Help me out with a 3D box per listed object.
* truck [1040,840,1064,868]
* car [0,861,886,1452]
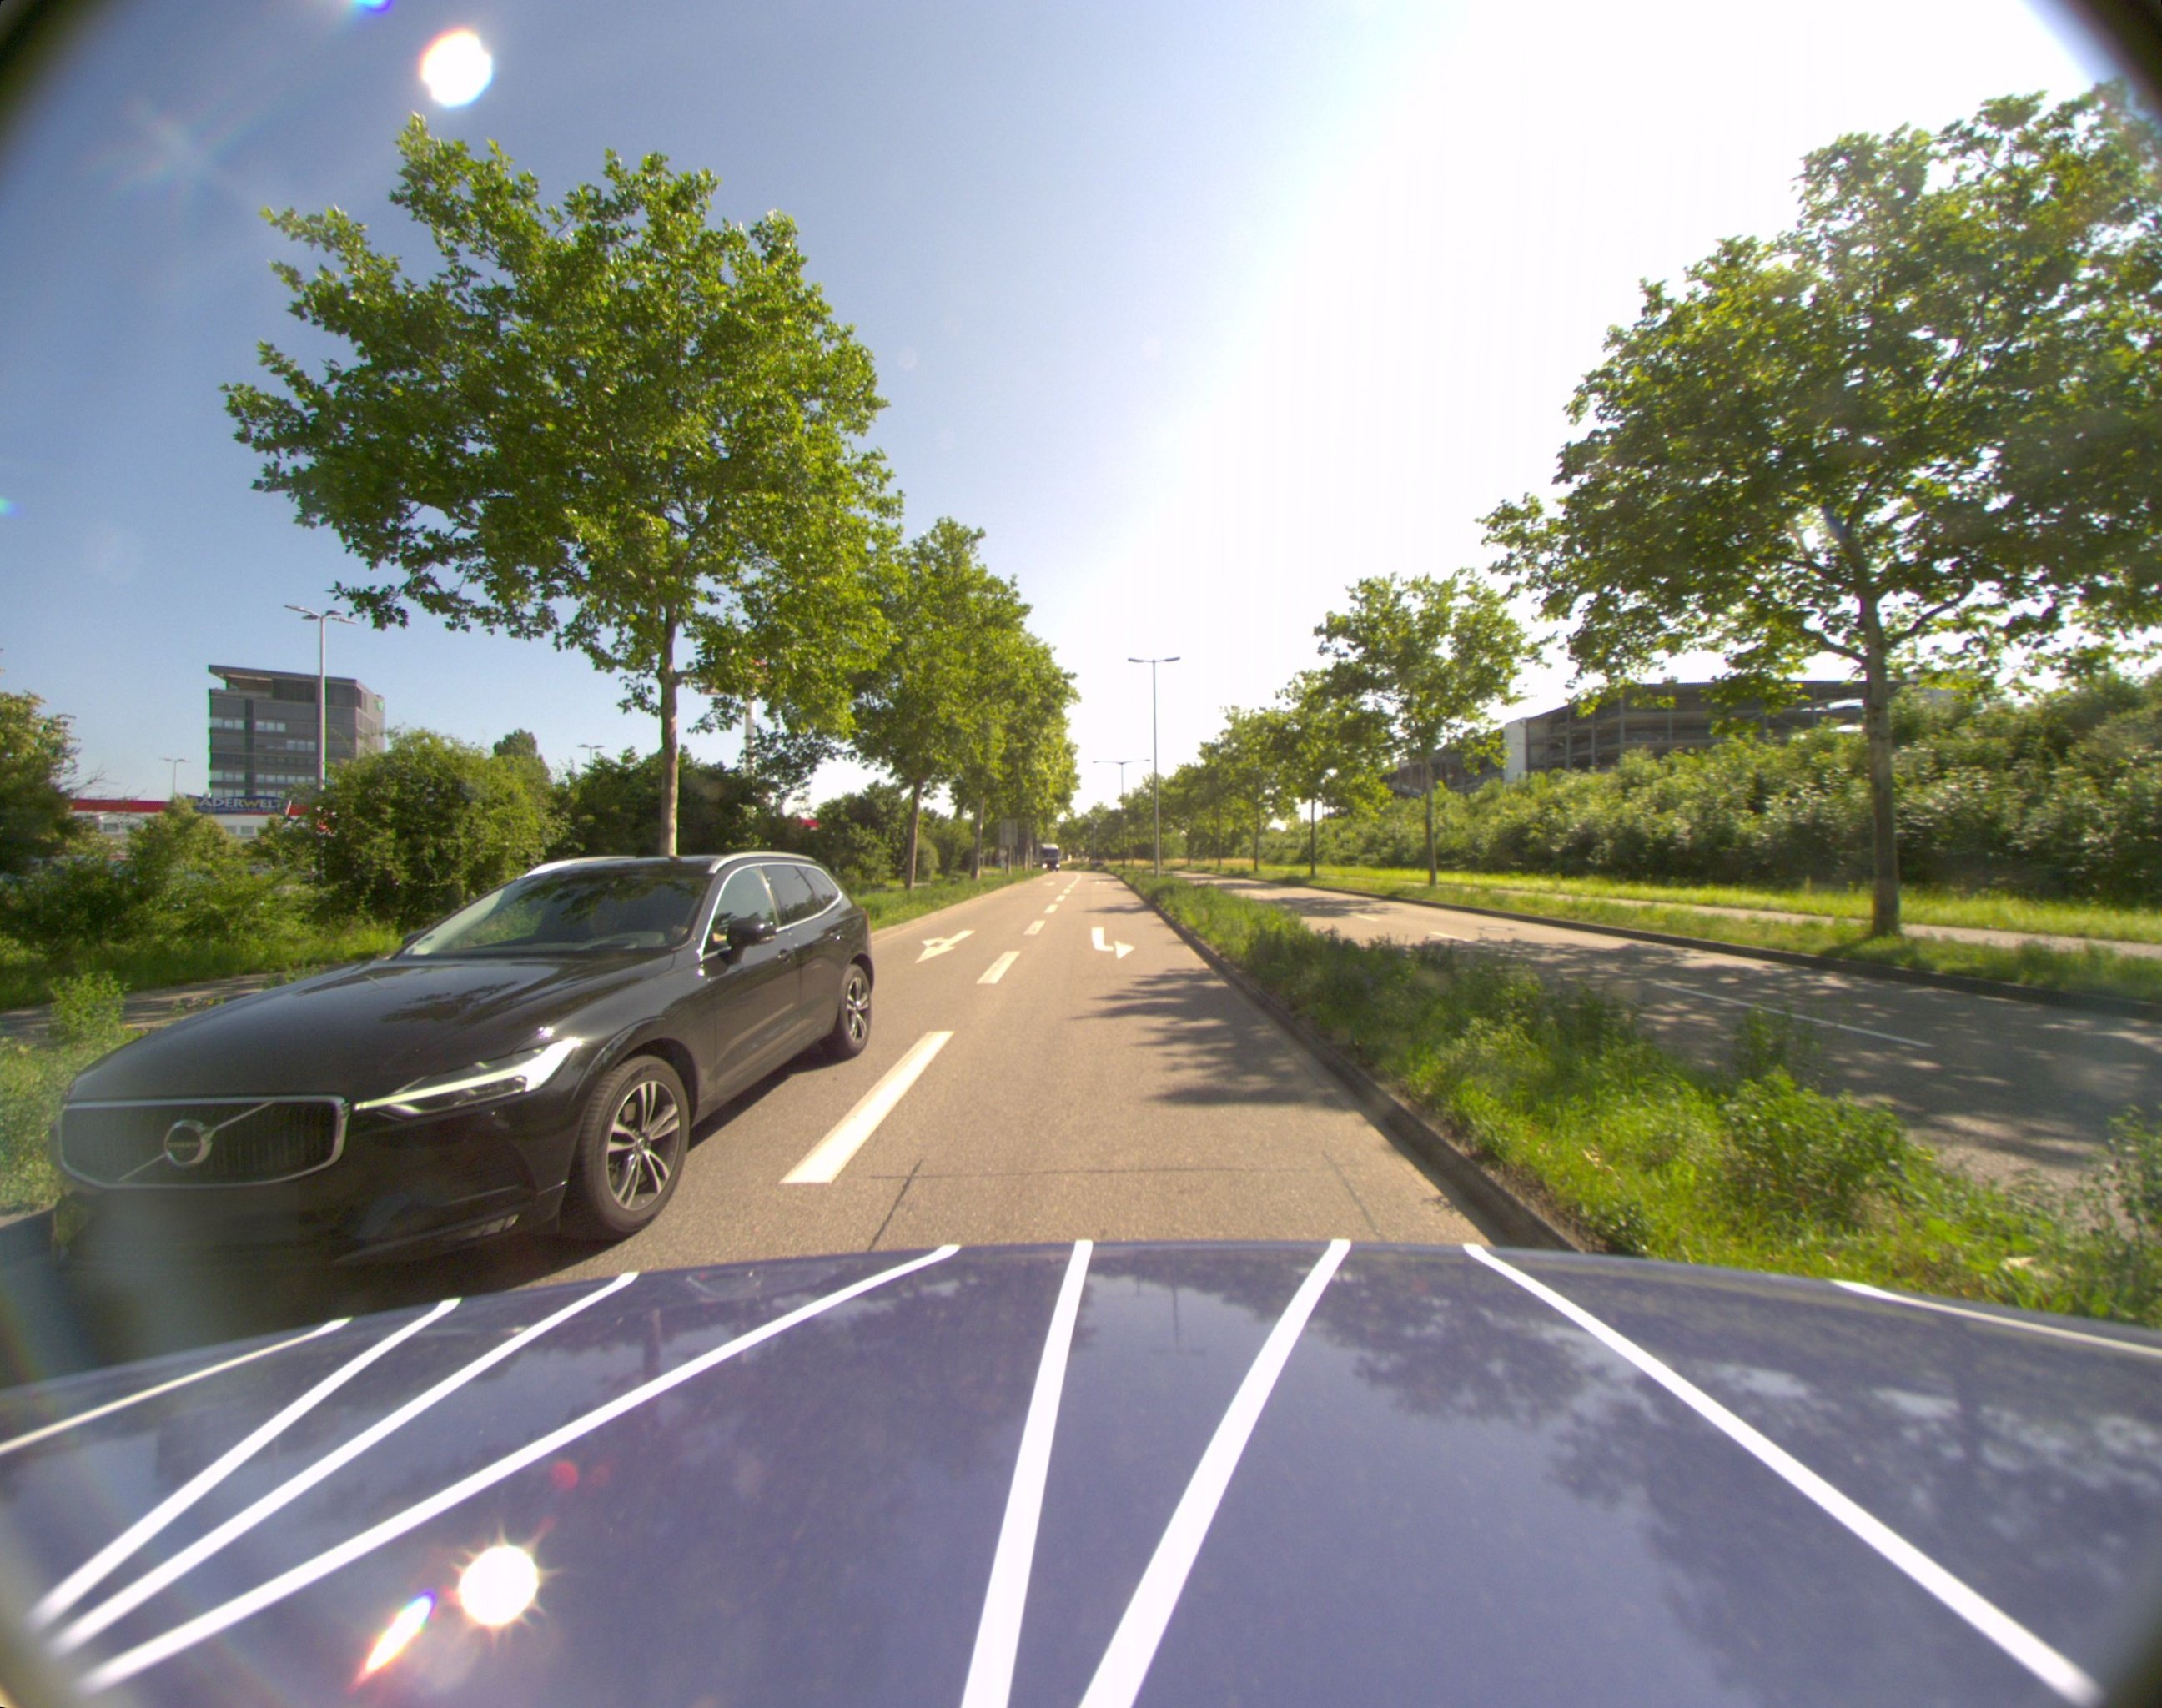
[{"bbox_3d":[-4.276,-0.045,110.185,2.743,3.872,5.847,-2,1,-8],"label":"truck"},{"bbox_3d":[-2.724,0.906,4.476,1.924,1.613,4.564,-2,0,0],"label":"car"}]
